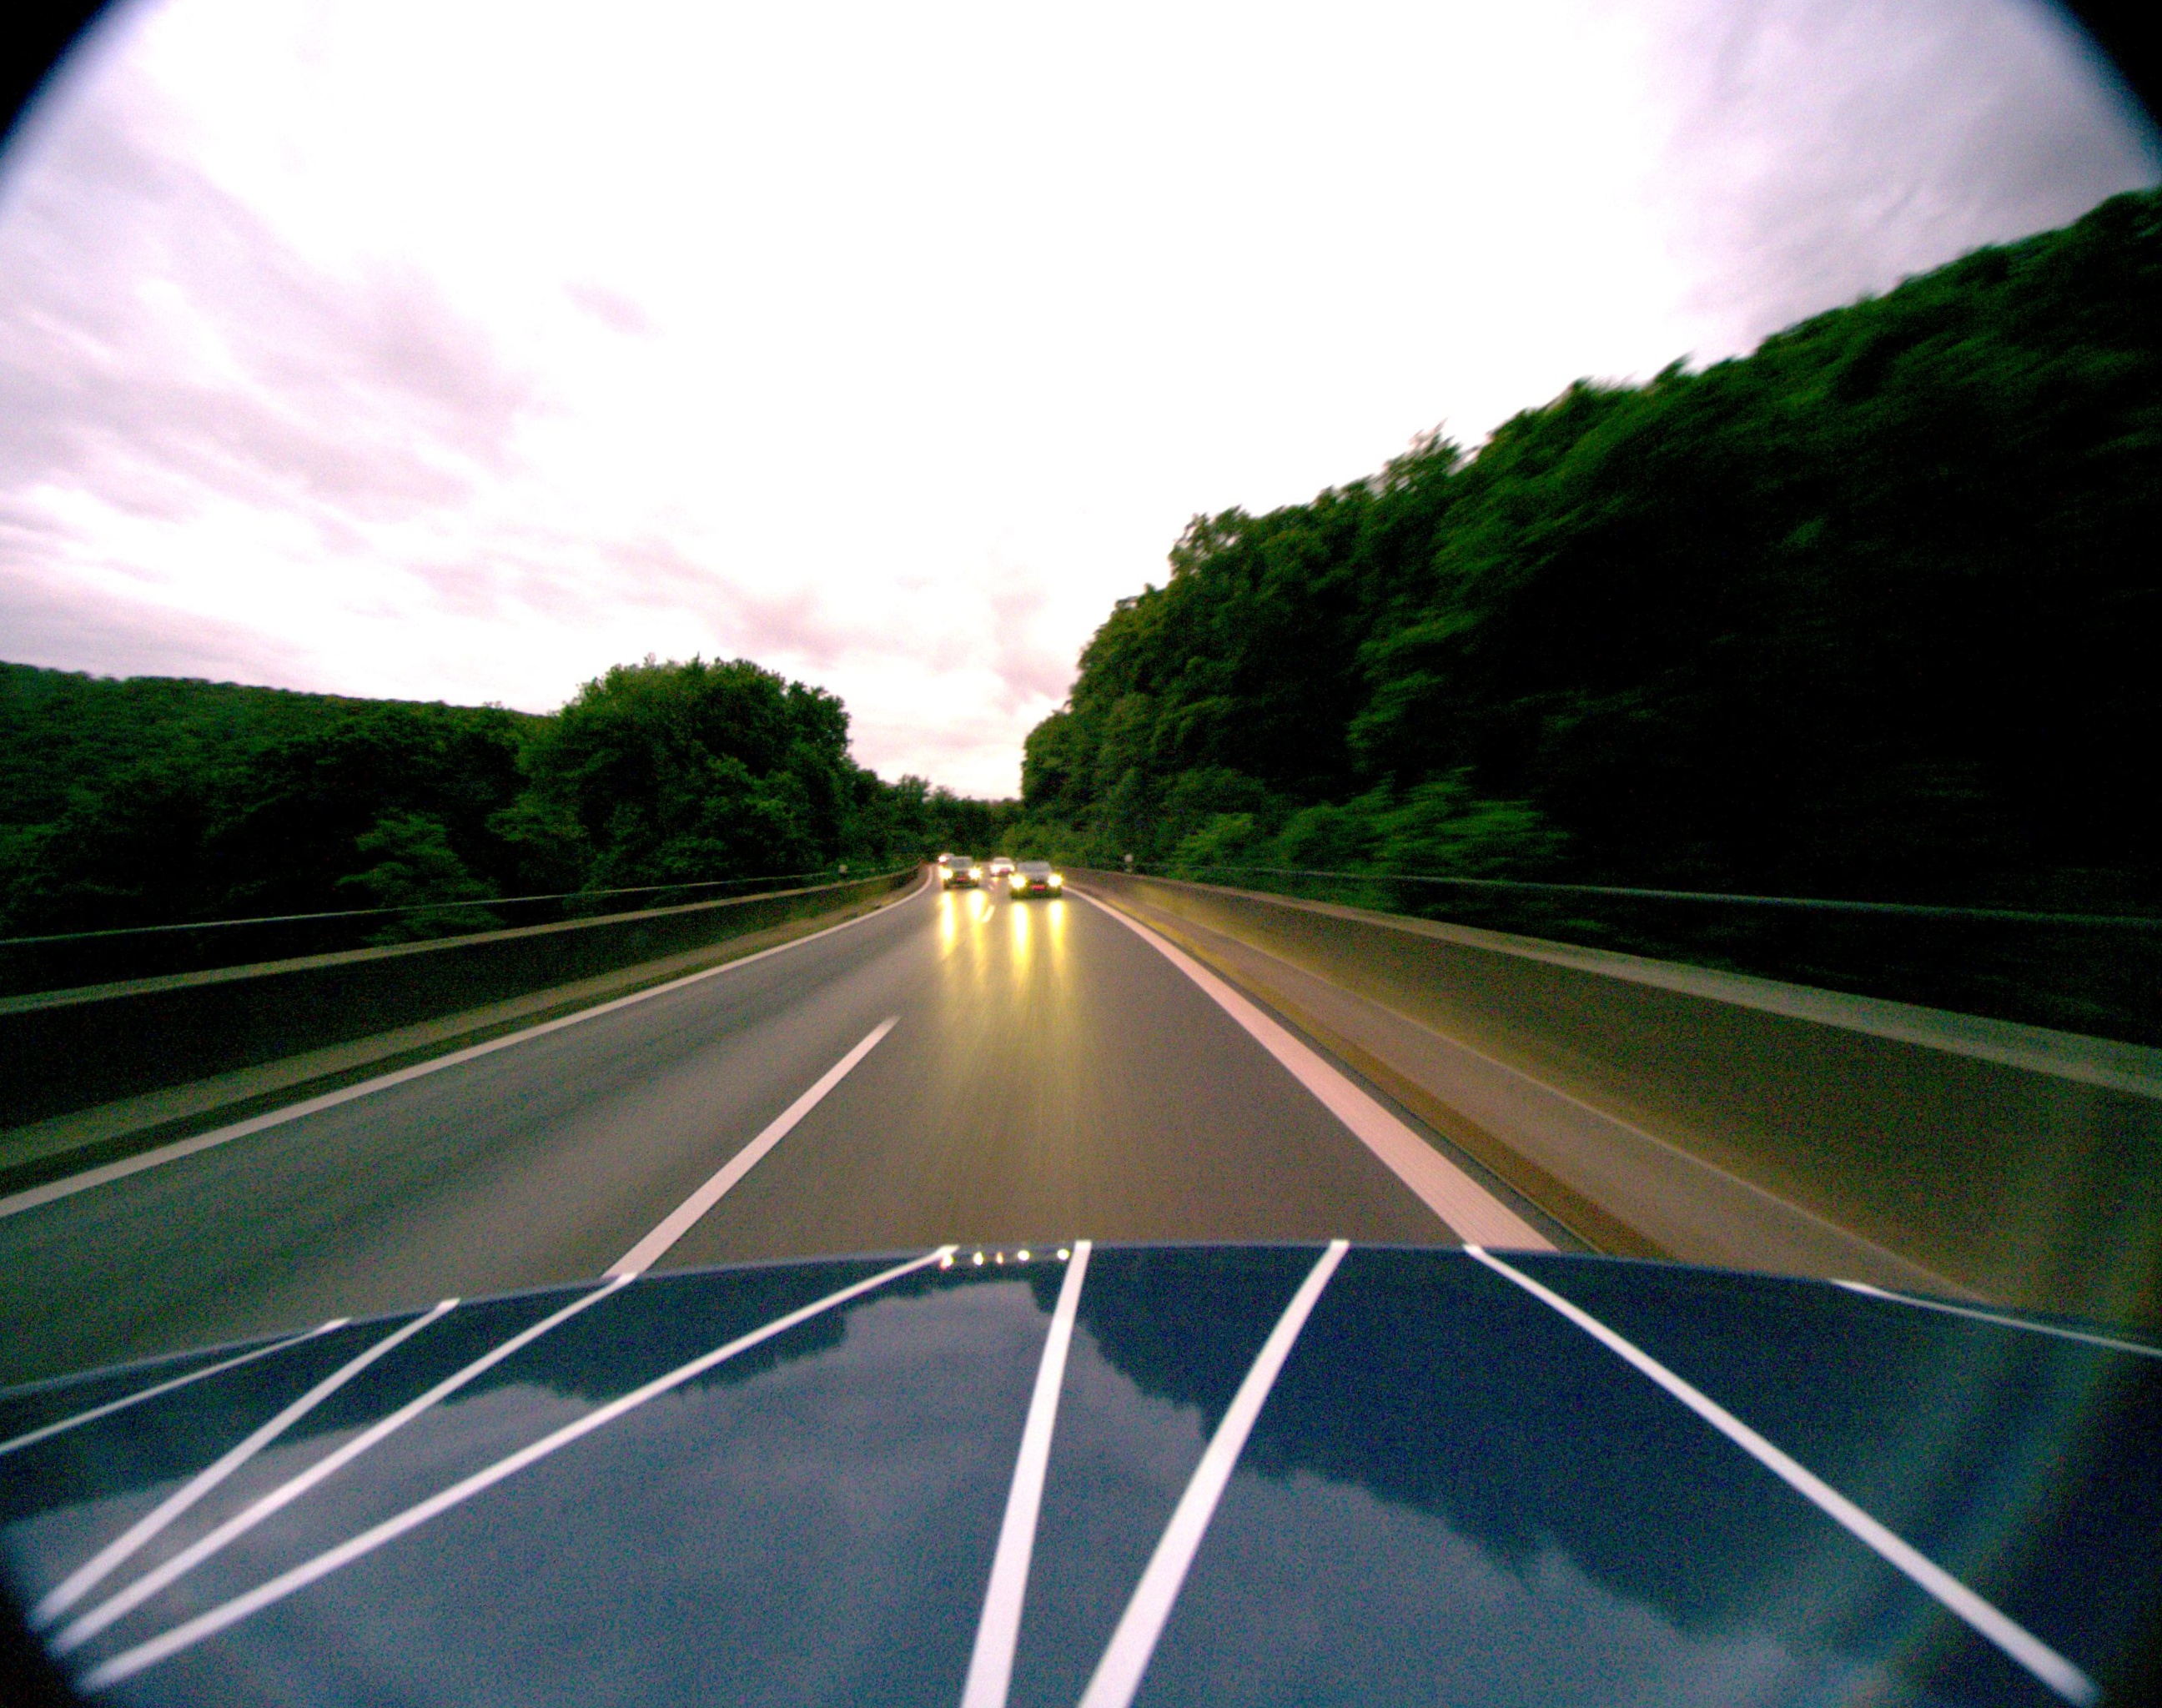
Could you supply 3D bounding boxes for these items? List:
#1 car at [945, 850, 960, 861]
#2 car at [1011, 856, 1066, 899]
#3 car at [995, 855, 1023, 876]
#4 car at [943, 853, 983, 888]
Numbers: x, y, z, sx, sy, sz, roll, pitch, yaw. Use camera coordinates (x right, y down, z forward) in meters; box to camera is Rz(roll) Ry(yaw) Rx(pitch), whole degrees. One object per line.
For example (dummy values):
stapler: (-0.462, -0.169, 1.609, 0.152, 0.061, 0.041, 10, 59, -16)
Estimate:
car: (-19.704, 0.223, 116.440, 2.000, 1.608, 3.997, 3, -1, -7)
car: (-1.730, 0.870, 29.927, 1.999, 1.499, 3.998, -1, 0, -5)
car: (-5.735, 0.883, 59.749, 2.000, 1.499, 3.997, 2, 0, -8)
car: (-6.418, 0.853, 41.168, 2.000, 1.631, 3.995, -2, 2, -9)
